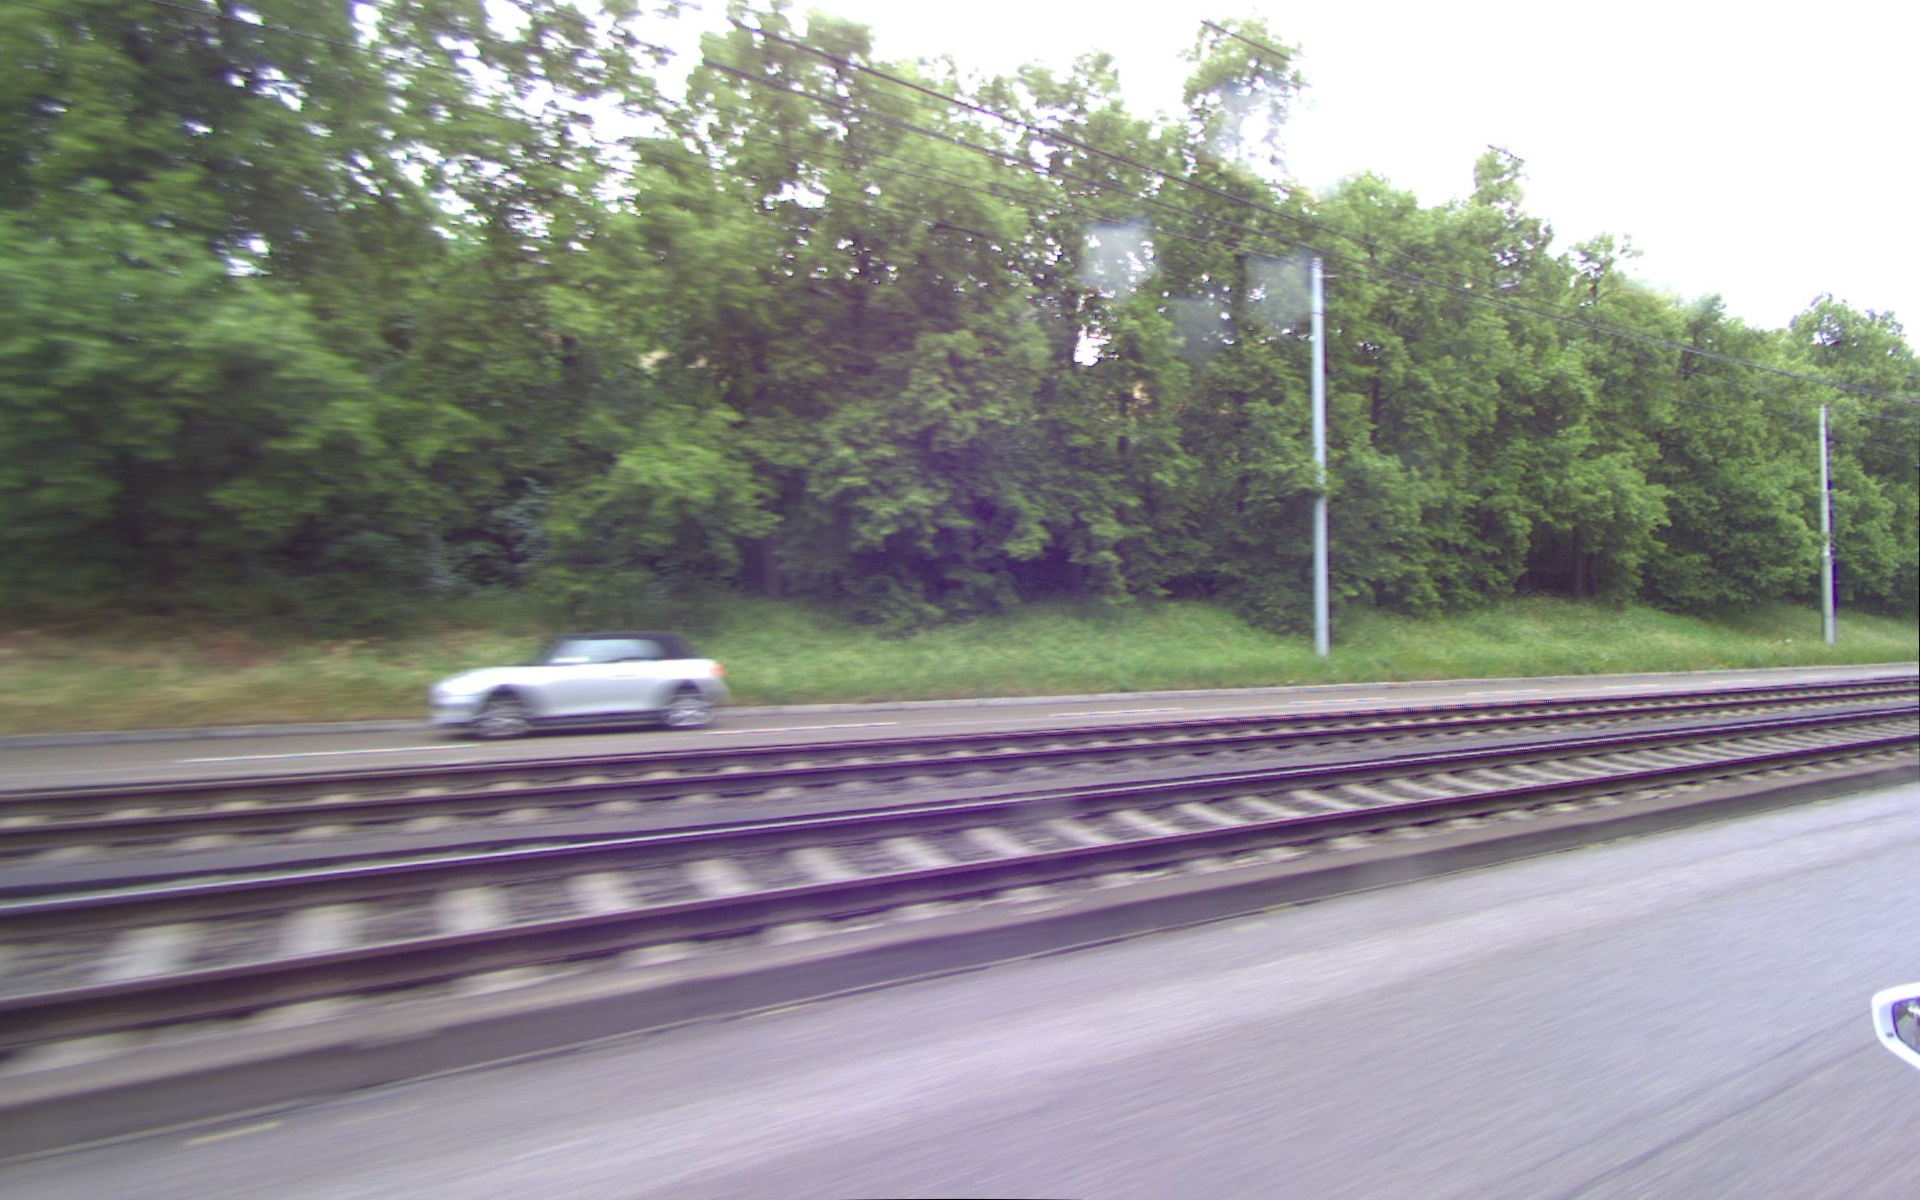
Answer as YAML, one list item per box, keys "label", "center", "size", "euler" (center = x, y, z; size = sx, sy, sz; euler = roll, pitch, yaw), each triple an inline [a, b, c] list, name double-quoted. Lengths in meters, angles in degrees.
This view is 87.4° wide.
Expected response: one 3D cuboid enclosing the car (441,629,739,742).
- label: "car"
  center: [-5.296, 1.160, 14.506]
  size: [3.863, 1.454, 1.469]
  euler: [1, -3, -30]
